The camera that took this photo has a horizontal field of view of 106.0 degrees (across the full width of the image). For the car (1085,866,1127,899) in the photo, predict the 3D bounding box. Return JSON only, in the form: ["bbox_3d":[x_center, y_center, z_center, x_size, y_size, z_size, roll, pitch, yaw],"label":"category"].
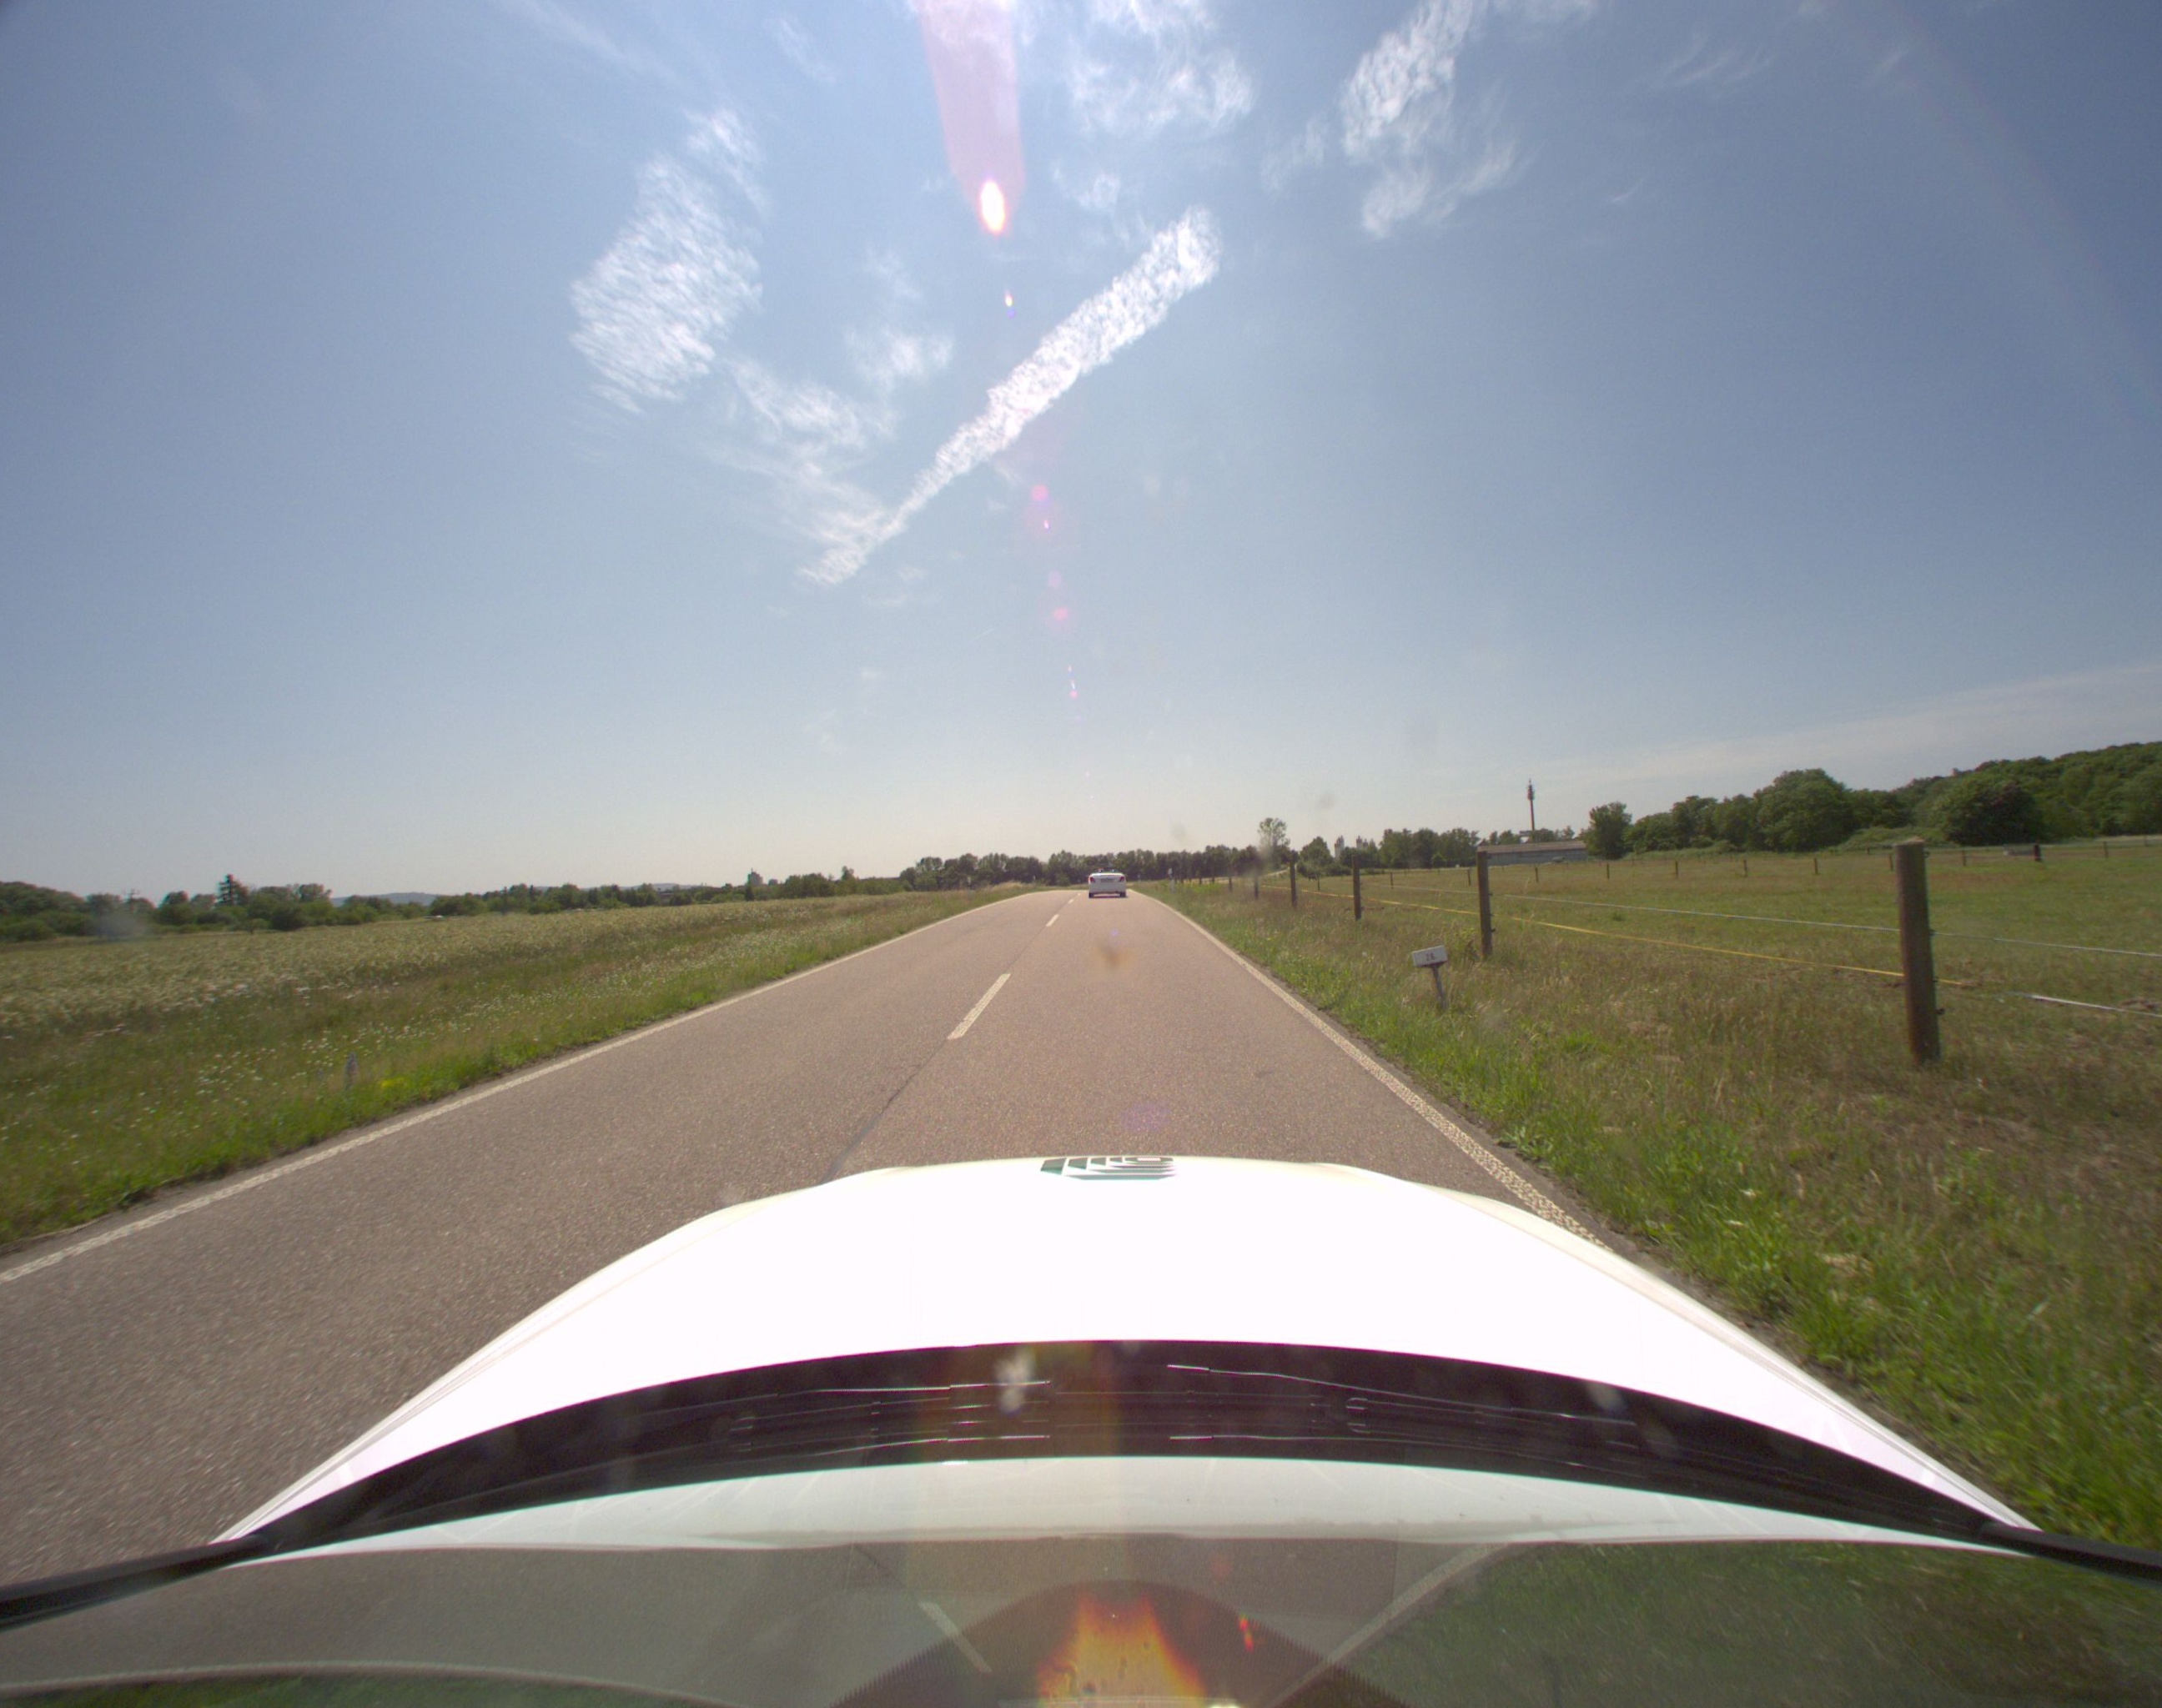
[{"bbox_3d":[1.177,1.294,37.865,1.844,1.379,4.001,-1,-1,2],"label":"car"}]
